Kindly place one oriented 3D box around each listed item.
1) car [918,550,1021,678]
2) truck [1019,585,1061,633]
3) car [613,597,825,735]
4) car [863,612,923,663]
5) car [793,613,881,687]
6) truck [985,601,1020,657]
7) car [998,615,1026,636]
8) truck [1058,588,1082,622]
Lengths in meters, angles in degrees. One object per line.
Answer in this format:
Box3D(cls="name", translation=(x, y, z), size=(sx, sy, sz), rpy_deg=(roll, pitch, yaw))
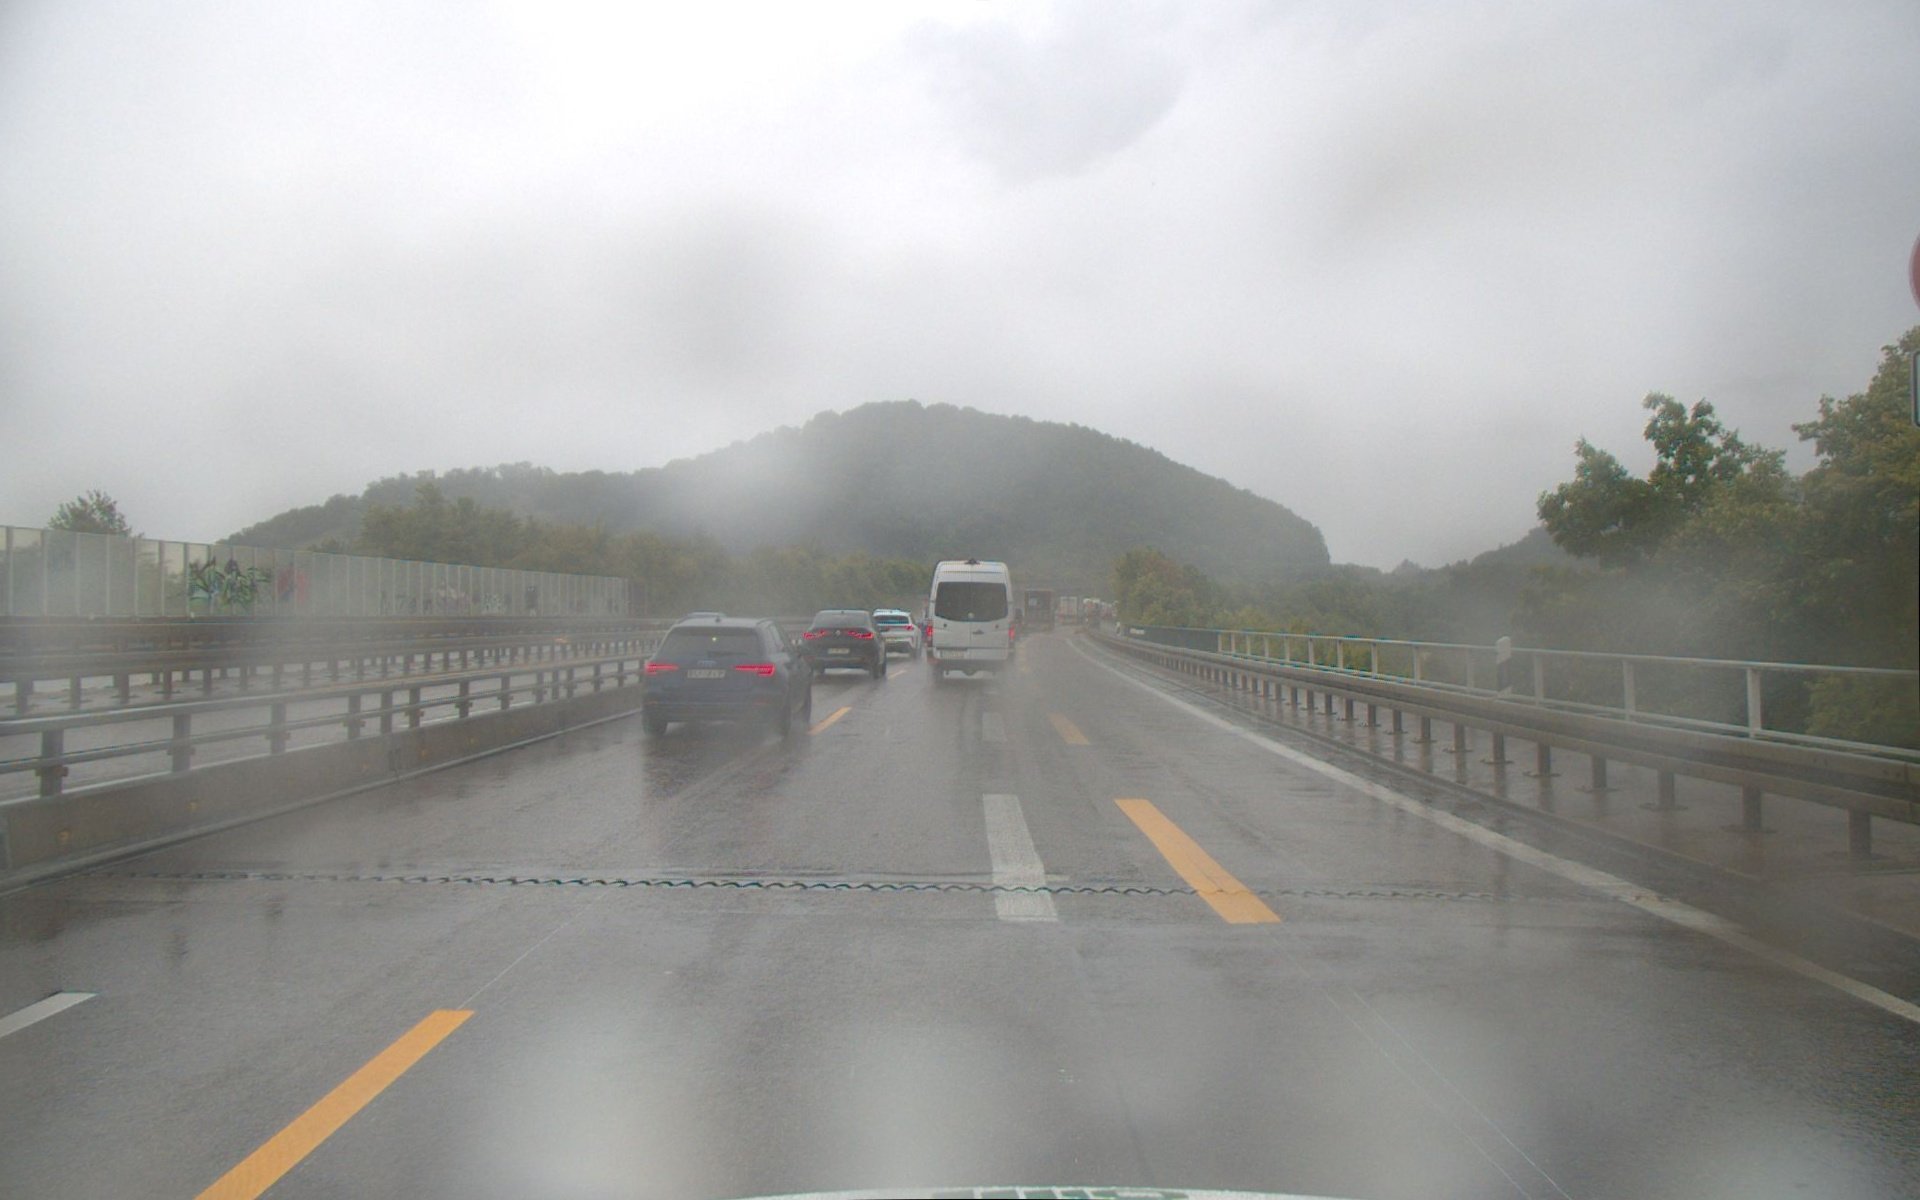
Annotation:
Box3D(cls="car", translation=(0.205, 0.334, 37.478), size=(2.101, 2.616, 5.389), rpy_deg=(2, -1, 0))
Box3D(cls="truck", translation=(8.010, 0.927, 164.118), size=(3.505, 4.483, 9.629), rpy_deg=(2, -1, 6))
Box3D(cls="car", translation=(-2.968, 0.798, 21.389), size=(1.952, 1.524, 4.631), rpy_deg=(2, -1, 1))
Box3D(cls="car", translation=(-2.372, 1.282, 57.349), size=(1.954, 1.646, 4.792), rpy_deg=(2, -1, -4))
Box3D(cls="car", translation=(-2.892, 1.161, 39.677), size=(1.954, 1.613, 4.410), rpy_deg=(2, -1, -3))
Box3D(cls="truck", translation=(2.603, 1.758, 100.826), size=(1.952, 3.163, 8.499), rpy_deg=(2, -1, 1))
Box3D(cls="car", translation=(3.780, 1.857, 119.799), size=(1.736, 1.501, 4.002), rpy_deg=(2, -1, 5))
Box3D(cls="truck", translation=(15.551, 0.716, 233.290), size=(2.972, 4.483, 9.629), rpy_deg=(2, -1, 5))
